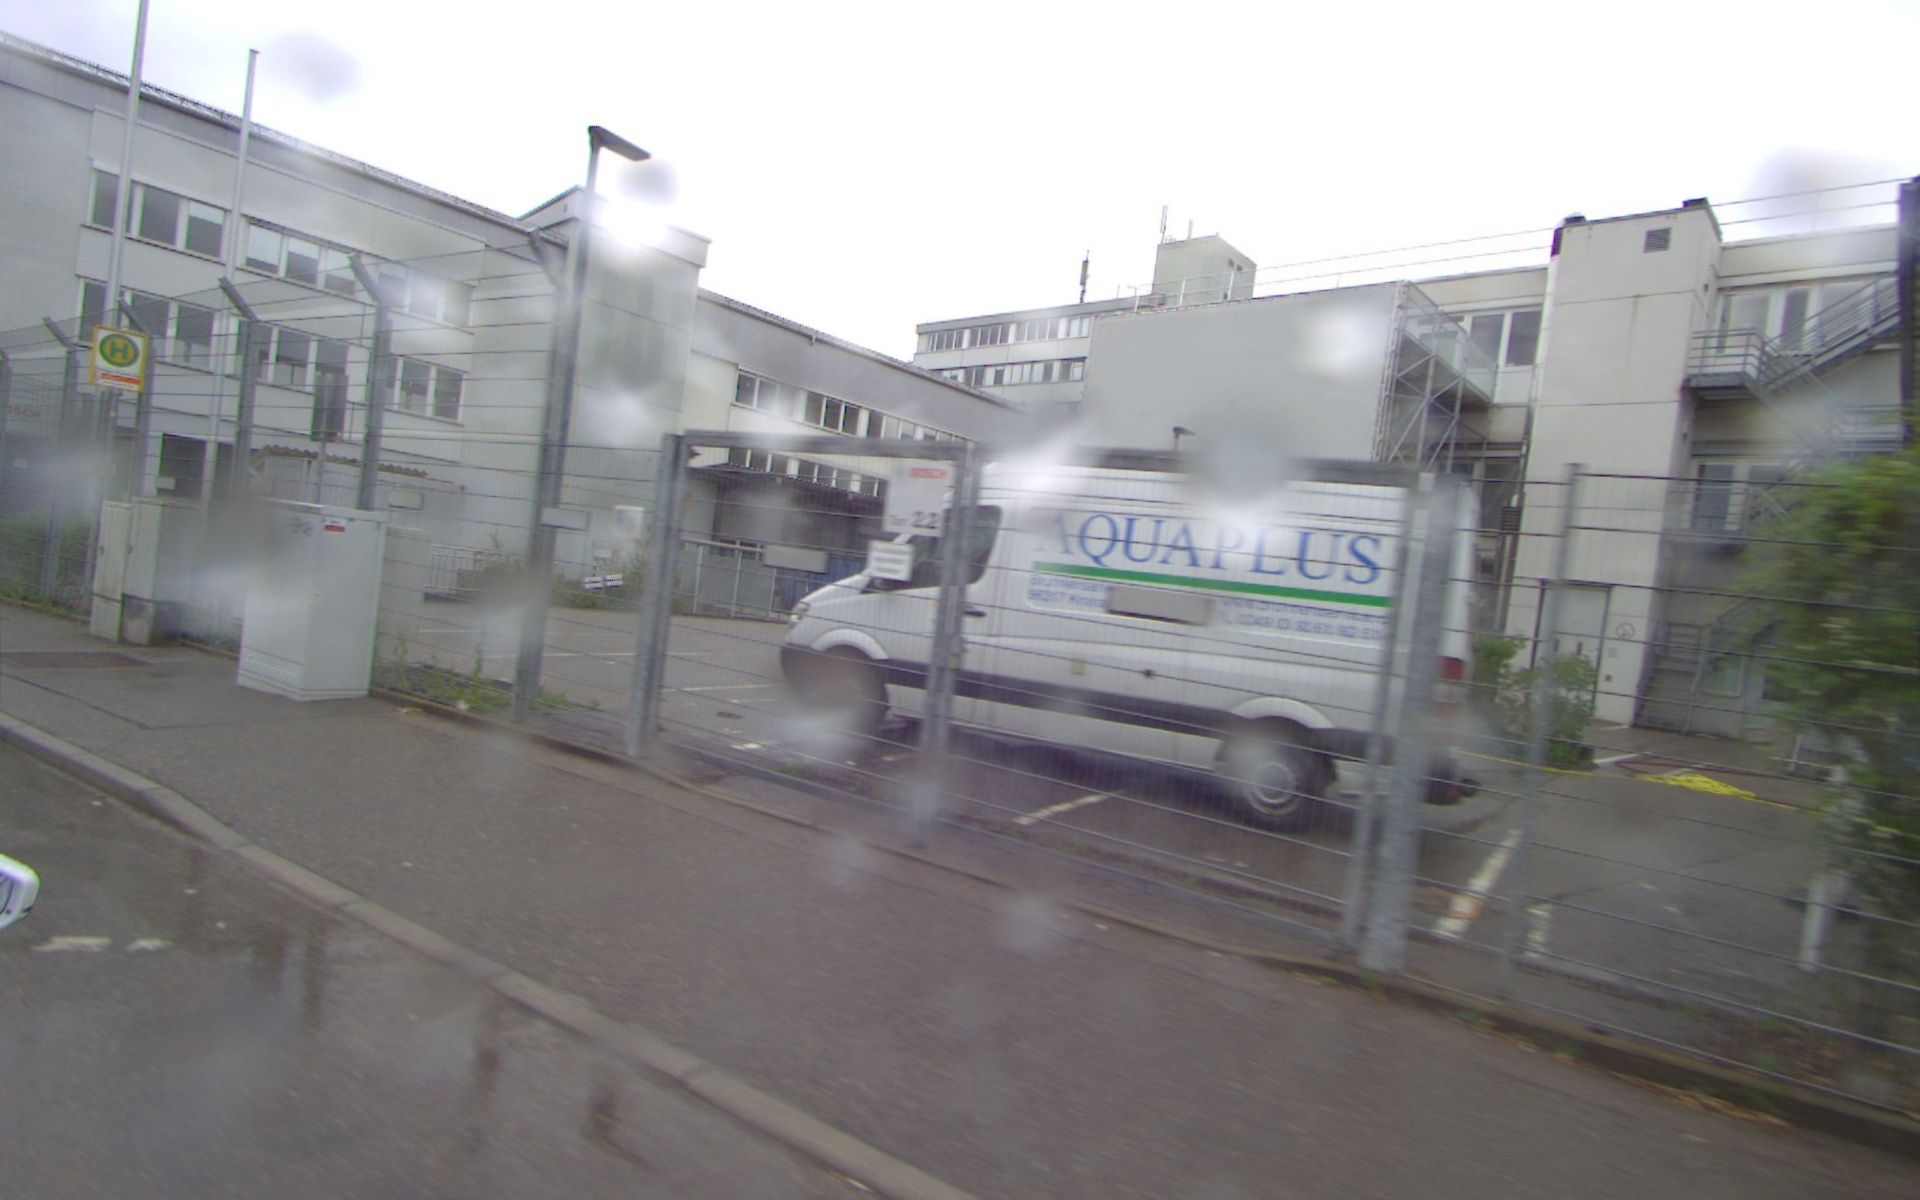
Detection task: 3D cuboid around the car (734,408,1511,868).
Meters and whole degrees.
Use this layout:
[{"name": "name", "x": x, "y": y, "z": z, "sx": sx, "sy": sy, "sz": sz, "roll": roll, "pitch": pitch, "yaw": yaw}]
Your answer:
[{"name": "car", "x": 1.160, "y": 0.052, "z": 8.645, "sx": 5.845, "sy": 2.720, "sz": 1.997, "roll": 8, "pitch": 3, "yaw": 25}]
